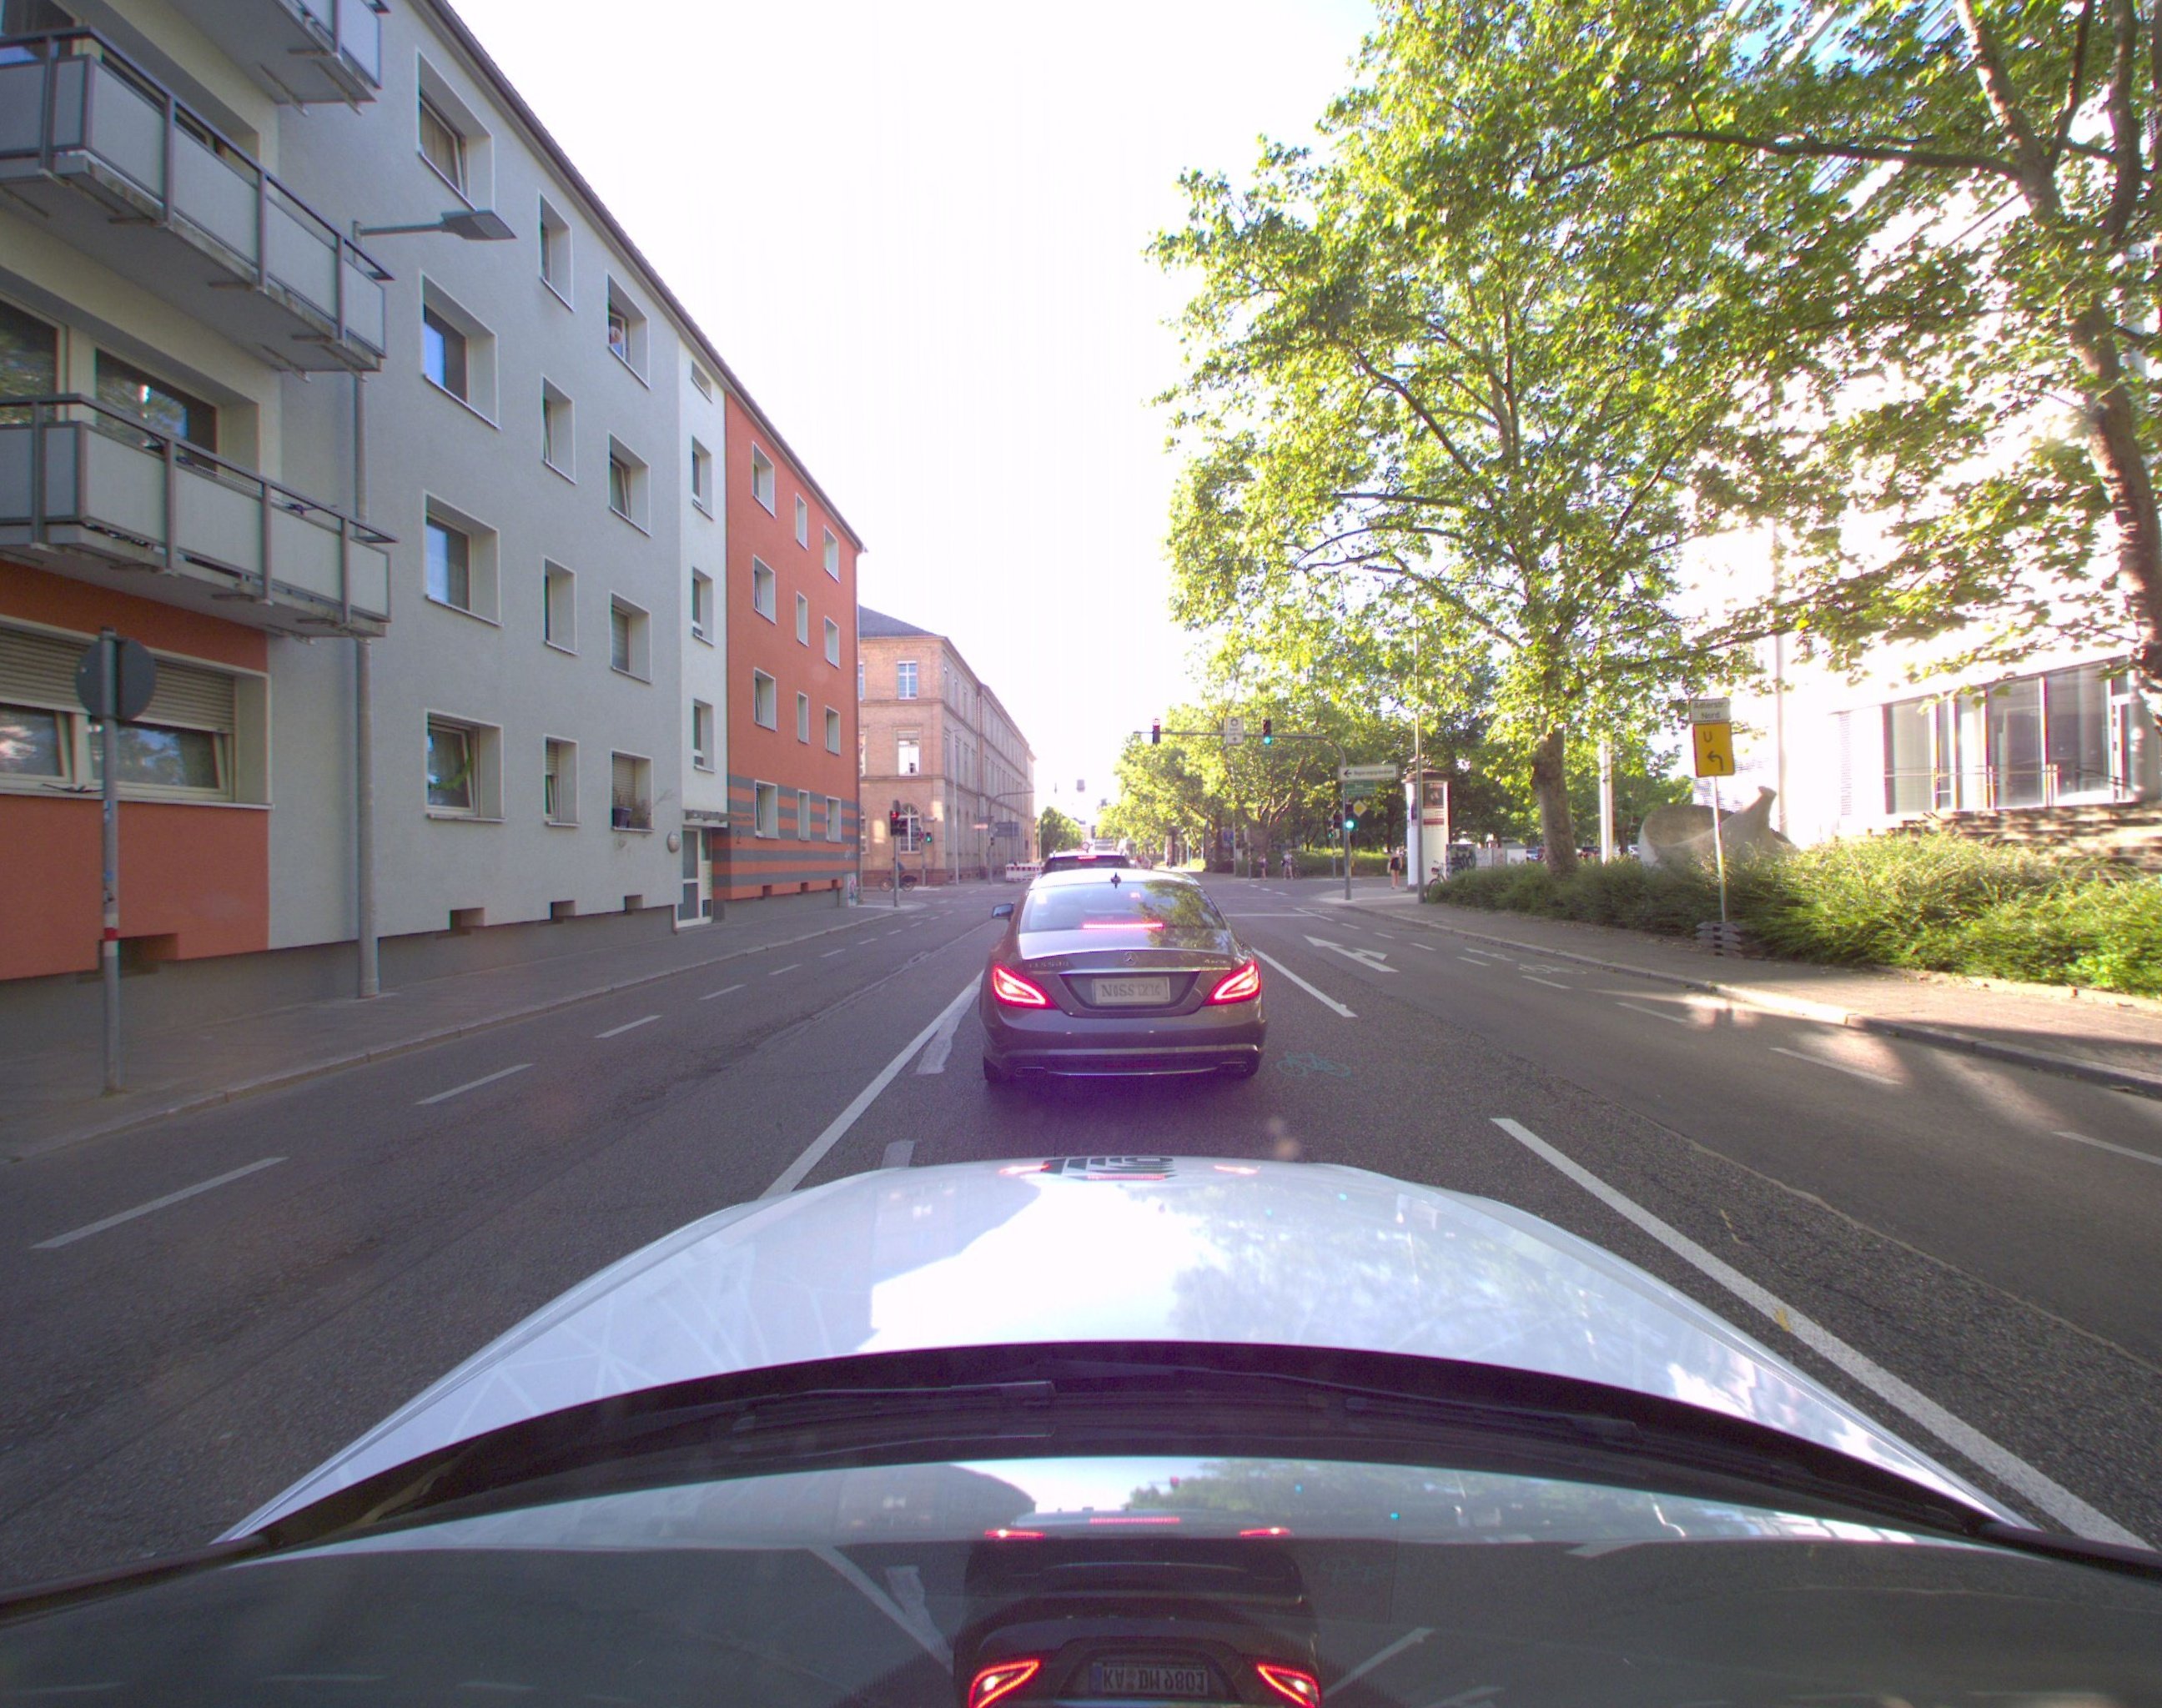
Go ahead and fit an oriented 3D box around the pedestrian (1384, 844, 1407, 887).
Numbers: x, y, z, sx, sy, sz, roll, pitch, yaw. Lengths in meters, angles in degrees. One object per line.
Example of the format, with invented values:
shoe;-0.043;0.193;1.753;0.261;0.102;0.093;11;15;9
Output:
pedestrian;12.248;0.445;31.709;0.791;1.630;0.912;-1;-1;19

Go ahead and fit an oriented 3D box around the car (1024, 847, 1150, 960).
car;0.207;0.737;13.866;1.801;1.612;4.003;-1;-1;3

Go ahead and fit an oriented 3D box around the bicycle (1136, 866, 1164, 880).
bicycle;4.362;1.185;51.298;1.875;0.891;0.544;0;-1;-34

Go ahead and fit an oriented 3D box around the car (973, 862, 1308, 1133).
car;0.211;0.795;6.702;1.839;1.429;4.511;0;0;-3

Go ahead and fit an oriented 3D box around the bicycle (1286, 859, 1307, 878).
bicycle;12.555;0.856;47.474;0.524;1.100;1.737;0;-1;-7

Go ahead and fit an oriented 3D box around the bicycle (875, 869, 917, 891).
bicycle;-9.325;1.312;41.077;1.954;1.062;0.705;0;-1;-7

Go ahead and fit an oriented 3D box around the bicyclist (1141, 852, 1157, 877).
bicyclist;4.291;0.628;51.264;0.810;1.558;0.643;0;-1;-35

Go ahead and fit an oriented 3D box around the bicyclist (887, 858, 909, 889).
bicyclist;-9.229;0.978;41.099;0.949;1.500;0.820;0;-1;-7

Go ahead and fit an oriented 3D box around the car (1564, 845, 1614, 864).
car;39.747;0.044;63.830;1.624;1.483;3.796;0;-1;1

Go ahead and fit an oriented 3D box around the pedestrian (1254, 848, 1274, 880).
pedestrian;10.684;0.576;47.616;0.734;1.808;0.903;-1;-2;-19

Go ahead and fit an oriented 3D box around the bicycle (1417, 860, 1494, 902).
bicycle;10.807;0.766;23.507;1.969;1.190;0.528;0;-1;0

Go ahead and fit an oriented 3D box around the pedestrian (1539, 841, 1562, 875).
pedestrian;25.424;0.235;44.107;0.779;1.835;0.685;0;-1;-5

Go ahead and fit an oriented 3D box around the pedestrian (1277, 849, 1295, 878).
pedestrian;12.038;0.569;47.748;0.683;1.697;0.967;0;-1;-10
